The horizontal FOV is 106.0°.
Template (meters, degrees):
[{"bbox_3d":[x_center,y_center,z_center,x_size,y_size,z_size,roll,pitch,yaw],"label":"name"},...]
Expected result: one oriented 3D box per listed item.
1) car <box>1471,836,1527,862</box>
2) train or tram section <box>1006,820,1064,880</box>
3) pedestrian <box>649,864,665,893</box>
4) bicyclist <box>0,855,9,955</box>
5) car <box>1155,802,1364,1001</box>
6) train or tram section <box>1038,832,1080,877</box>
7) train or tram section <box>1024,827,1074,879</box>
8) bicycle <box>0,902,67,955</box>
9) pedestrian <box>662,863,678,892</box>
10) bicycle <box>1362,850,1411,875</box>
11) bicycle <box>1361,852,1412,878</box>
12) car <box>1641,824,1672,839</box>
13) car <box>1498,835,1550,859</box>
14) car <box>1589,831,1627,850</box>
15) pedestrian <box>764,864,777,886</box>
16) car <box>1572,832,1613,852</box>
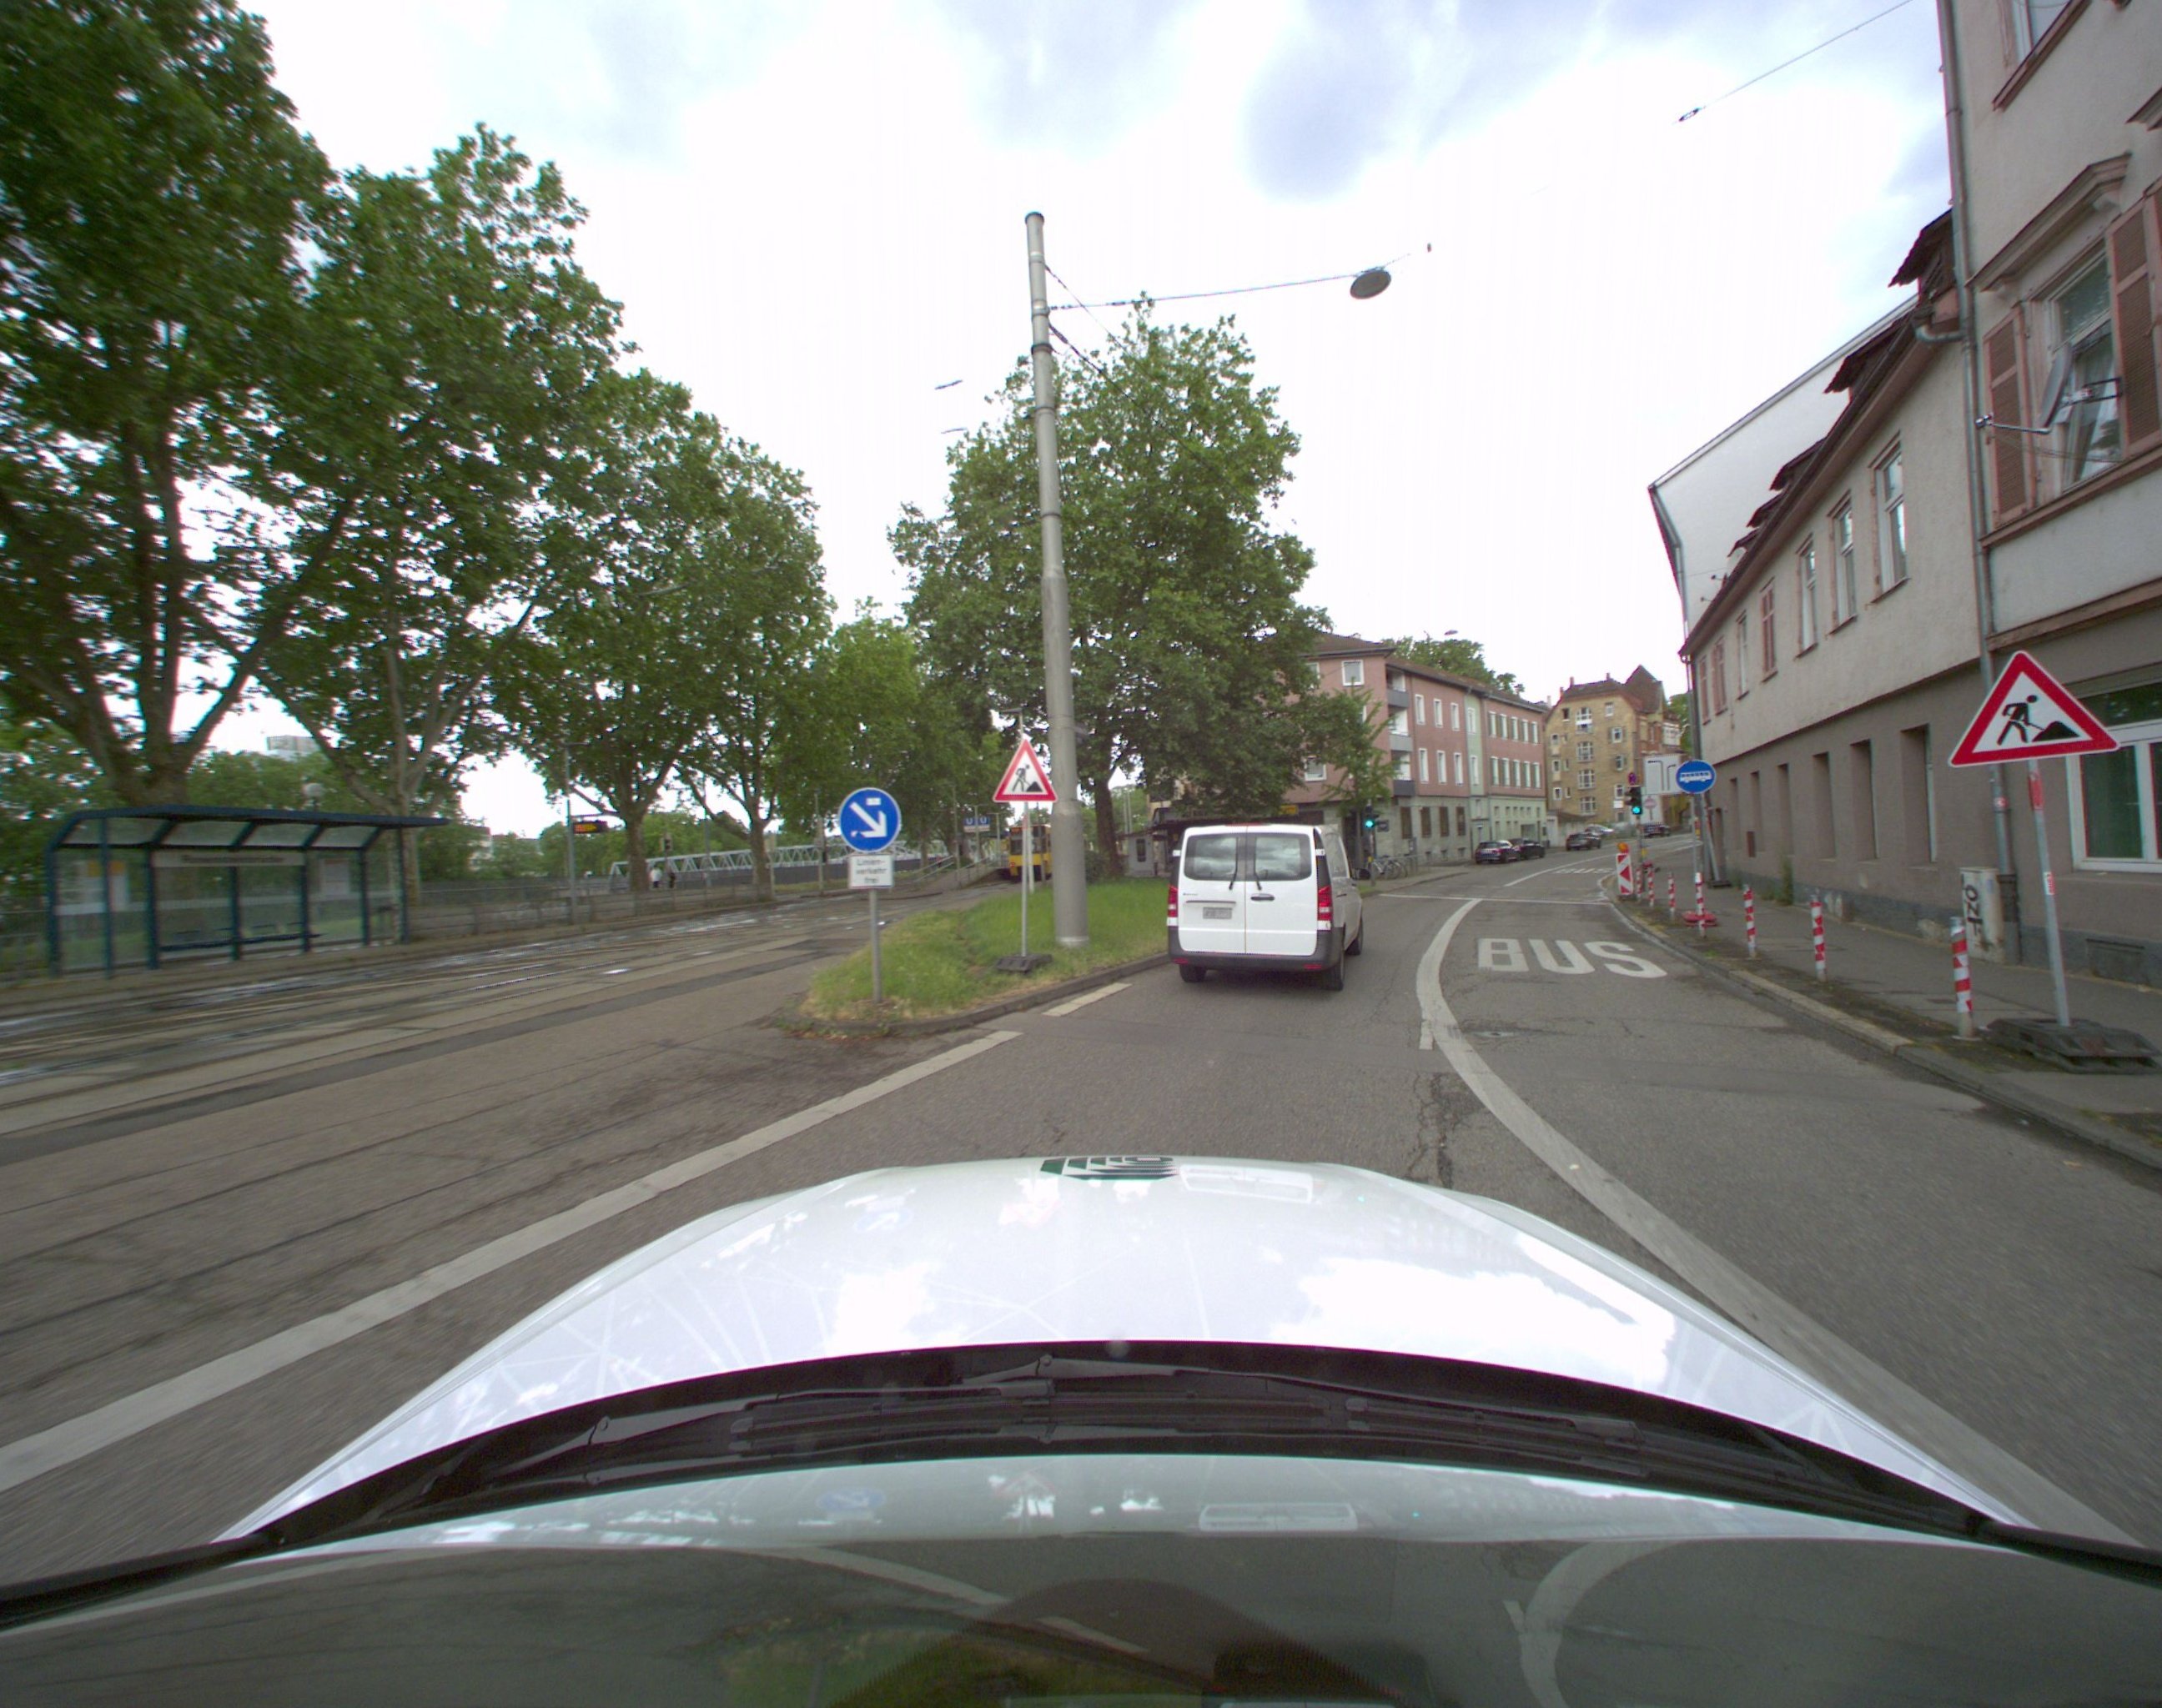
[{"bbox_3d":[25.788,-0.328,50.160,1.974,1.398,4.024,-5,-2,43],"label":"car"},{"bbox_3d":[-2.868,-0.171,52.892,2.568,3.451,7.764,-4,-2,4],"label":"train or tram section"},{"bbox_3d":[-22.160,1.289,42.577,0.470,1.451,0.511,-4,-2,1],"label":"pedestrian"},{"bbox_3d":[-22.247,1.049,16.032,0.950,2.014,0.979,-4,-2,5],"label":"bicyclist"},{"bbox_3d":[2.597,0.529,10.776,1.934,2.014,4.722,-3,-1,21],"label":"car"},{"bbox_3d":[-1.749,0.122,68.446,2.568,3.451,7.764,-4,-2,4],"label":"train or tram section"},{"bbox_3d":[-2.266,-0.006,60.656,2.568,3.451,7.764,-4,-2,4],"label":"train or tram section"},{"bbox_3d":[-22.224,1.543,16.168,0.927,1.014,2.501,-4,-2,5],"label":"bicycle"},{"bbox_3d":[-21.553,1.241,42.703,0.470,1.451,0.511,-4,-2,1],"label":"pedestrian"},{"bbox_3d":[13.522,0.360,36.117,1.981,1.035,0.565,-2,-1,17],"label":"bicycle"},{"bbox_3d":[13.092,0.473,34.940,1.981,1.035,0.565,-2,-1,17],"label":"bicycle"},{"bbox_3d":[60.302,-2.396,85.320,1.974,1.398,4.024,-5,-2,43],"label":"car"},{"bbox_3d":[29.360,-0.474,53.884,1.974,1.398,4.024,-5,-2,43],"label":"car"},{"bbox_3d":[45.546,-1.155,70.316,1.974,1.398,4.024,-5,-2,43],"label":"car"},{"bbox_3d":[-21.434,1.463,56.284,0.542,1.498,0.644,-4,-2,1],"label":"pedestrian"},{"bbox_3d":[41.403,-0.983,65.908,1.974,1.398,4.024,-5,-2,43],"label":"car"}]
